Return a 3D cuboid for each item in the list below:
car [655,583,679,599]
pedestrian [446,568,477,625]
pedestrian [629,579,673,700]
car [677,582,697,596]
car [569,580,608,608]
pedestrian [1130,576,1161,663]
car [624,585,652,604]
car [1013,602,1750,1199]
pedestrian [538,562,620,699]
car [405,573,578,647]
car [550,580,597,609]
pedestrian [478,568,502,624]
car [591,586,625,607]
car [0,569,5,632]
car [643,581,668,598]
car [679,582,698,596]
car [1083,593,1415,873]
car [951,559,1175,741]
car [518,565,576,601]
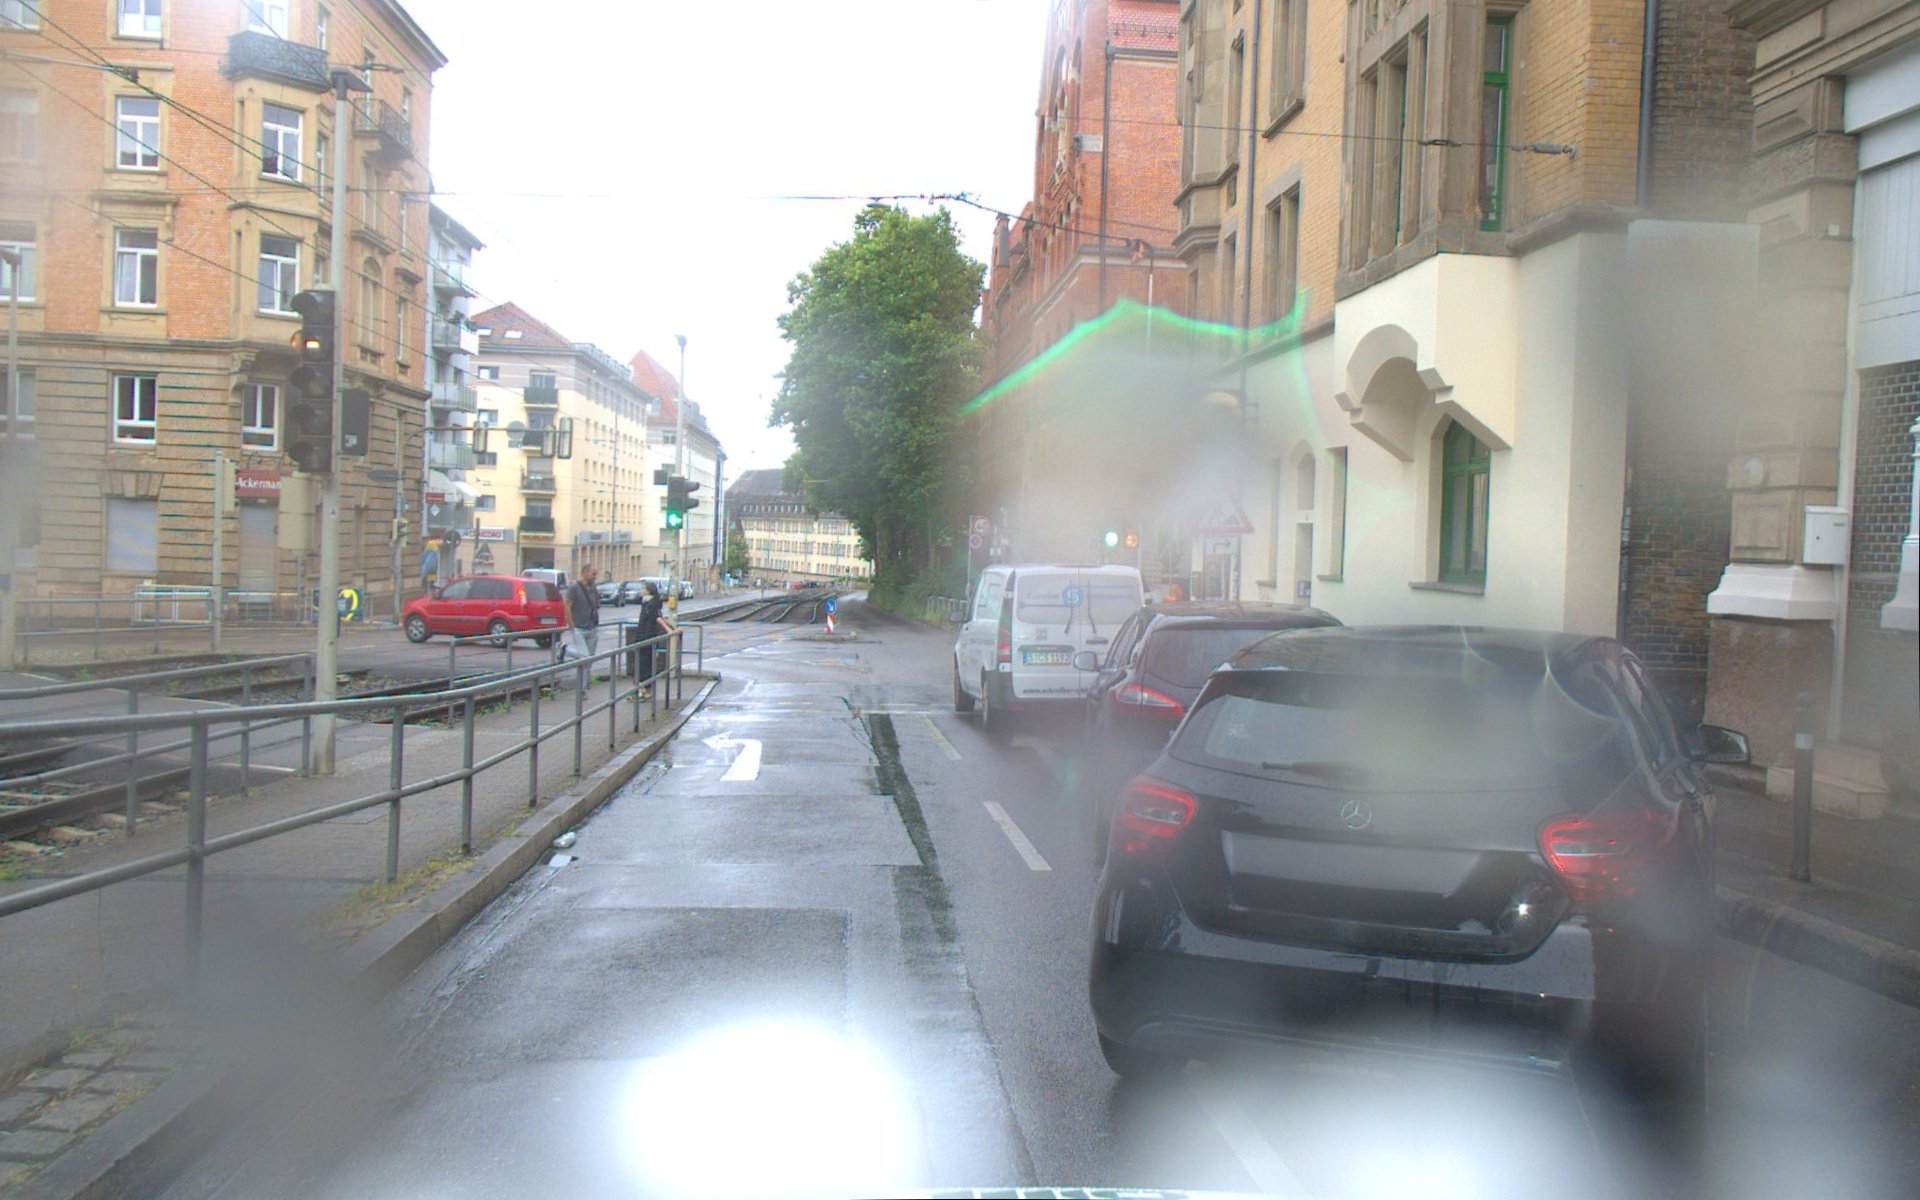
[{"bbox_3d":[-22.323,-0.689,126.025,1.367,1.191,3.159,2,0,-3],"label":"car"},{"bbox_3d":[-14.879,-0.099,49.397,0.664,1.690,0.676,1,0,2],"label":"pedestrian"},{"bbox_3d":[-4.062,0.515,21.726,0.522,1.557,0.435,2,0,-12],"label":"pedestrian"},{"bbox_3d":[-23.656,-0.927,143.381,1.367,1.191,3.159,2,0,-3],"label":"car"},{"bbox_3d":[-19.499,-0.332,86.866,1.470,1.379,3.159,2,0,-3],"label":"car"},{"bbox_3d":[2.806,0.289,24.996,0.404,1.293,0.292,2,0,2],"label":"pedestrian"},{"bbox_3d":[-21.153,-0.374,108.592,1.367,1.191,3.159,2,0,-3],"label":"car"},{"bbox_3d":[1.853,0.751,6.096,1.857,1.414,3.997,1,0,25],"label":"car"},{"bbox_3d":[-5.010,0.391,21.764,0.728,1.754,0.736,2,0,43],"label":"pedestrian"},{"bbox_3d":[-10.428,0.201,36.802,3.532,1.515,1.683,1,0,28],"label":"car"},{"bbox_3d":[-19.326,-0.286,82.916,1.647,1.379,3.700,2,0,-3],"label":"car"},{"bbox_3d":[-14.362,-0.124,50.544,0.508,1.695,0.476,3,0,-1],"label":"pedestrian"},{"bbox_3d":[-20.264,-0.218,95.214,1.408,1.126,3.159,2,0,-3],"label":"car"},{"bbox_3d":[-24.890,-0.030,39.654,3.089,1.515,1.423,2,1,-4],"label":"car"},{"bbox_3d":[-22.037,-0.745,119.689,1.367,1.191,3.159,2,0,-3],"label":"car"},{"bbox_3d":[-24.262,-1.015,147.836,1.367,1.191,3.159,2,0,-3],"label":"car"},{"bbox_3d":[1.758,0.729,11.311,1.677,1.494,4.282,2,0,3],"label":"car"},{"bbox_3d":[1.083,0.508,19.592,1.896,1.863,4.275,2,0,-6],"label":"car"},{"bbox_3d":[-19.019,-0.764,76.397,1.751,1.556,4.459,2,0,-3],"label":"car"}]
